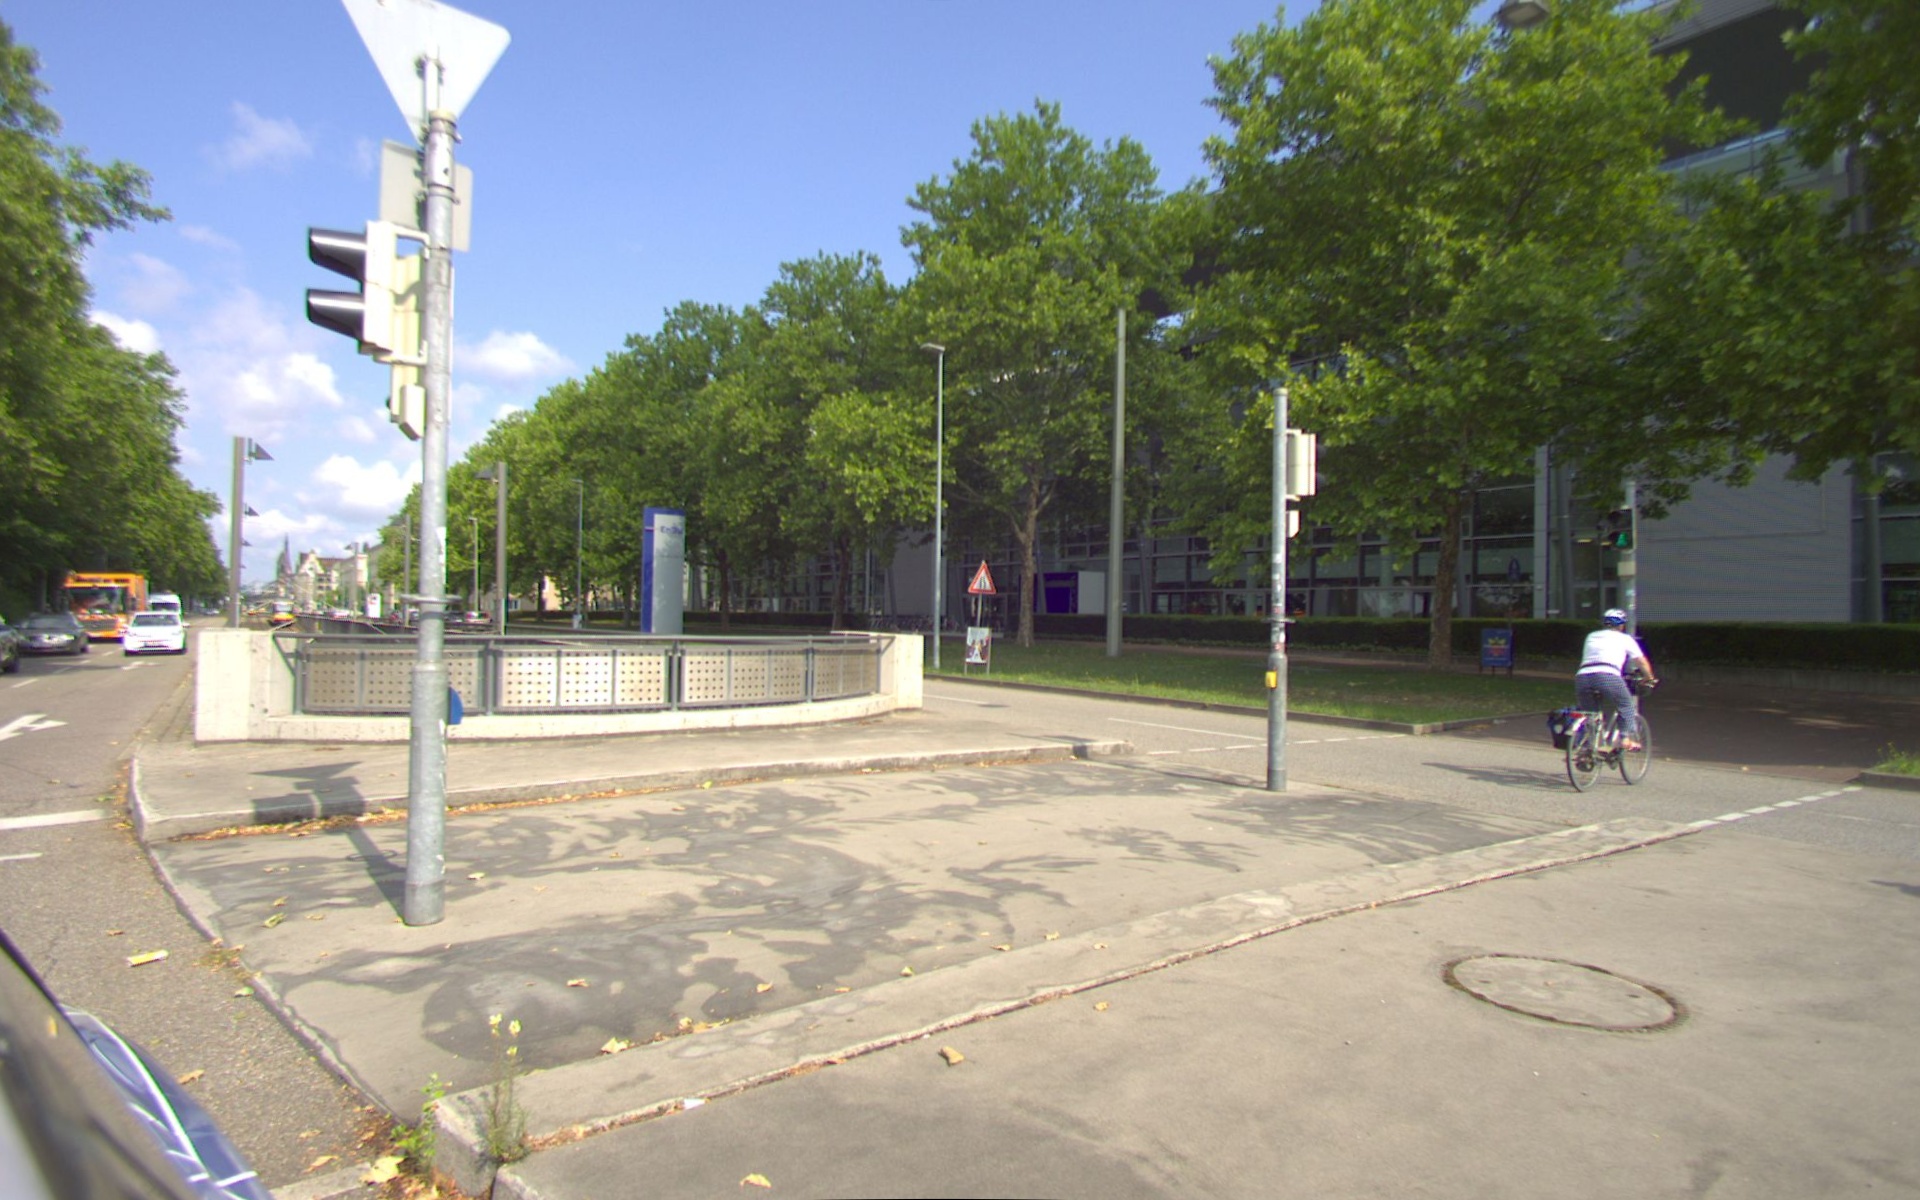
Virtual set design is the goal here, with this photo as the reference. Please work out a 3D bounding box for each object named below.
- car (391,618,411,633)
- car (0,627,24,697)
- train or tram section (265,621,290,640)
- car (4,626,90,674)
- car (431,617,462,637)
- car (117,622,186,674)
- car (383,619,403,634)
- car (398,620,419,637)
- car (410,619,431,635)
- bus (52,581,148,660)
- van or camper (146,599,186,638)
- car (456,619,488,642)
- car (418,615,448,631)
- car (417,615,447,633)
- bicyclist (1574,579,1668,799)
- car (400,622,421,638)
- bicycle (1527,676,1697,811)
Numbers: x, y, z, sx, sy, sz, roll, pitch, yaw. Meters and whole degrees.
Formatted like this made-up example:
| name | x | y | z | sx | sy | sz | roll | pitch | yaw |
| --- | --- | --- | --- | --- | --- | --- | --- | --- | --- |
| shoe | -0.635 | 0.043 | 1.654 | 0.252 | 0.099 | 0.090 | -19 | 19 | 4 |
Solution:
| name | x | y | z | sx | sy | sz | roll | pitch | yaw |
| --- | --- | --- | --- | --- | --- | --- | --- | --- | --- |
| car | -52.545 | 2.381 | 95.102 | 1.288 | 1.387 | 3.192 | 3 | -2 | -36 |
| car | -23.923 | 1.485 | 24.076 | 1.861 | 1.587 | 4.591 | 0 | 0 | -36 |
| train or tram section | -95.501 | 4.255 | 141.544 | 2.183 | 2.477 | 6.258 | 1 | -1 | -41 |
| car | -31.548 | 1.683 | 35.080 | 1.743 | 1.475 | 4.010 | 0 | -1 | -36 |
| car | -37.974 | 1.975 | 74.819 | 1.557 | 1.445 | 3.164 | 3 | -2 | -36 |
| car | -27.860 | 1.617 | 34.952 | 1.710 | 1.497 | 3.610 | -3 | 2 | -37 |
| car | -55.544 | 2.586 | 99.124 | 1.288 | 1.387 | 3.192 | 3 | -2 | -36 |
| car | -49.714 | 2.559 | 91.208 | 1.288 | 1.387 | 3.192 | 3 | -2 | -36 |
| car | -44.632 | 2.212 | 83.689 | 1.162 | 1.252 | 2.555 | 2 | -2 | -36 |
| bus | -42.512 | 0.951 | 50.284 | 2.701 | 3.492 | 10.420 | 1 | -1 | -35 |
| van or camper | -59.412 | 1.404 | 75.797 | 2.130 | 2.807 | 5.979 | 1 | -1 | -37 |
| car | -33.432 | 2.066 | 69.359 | 1.398 | 1.467 | 3.164 | 3 | -2 | -36 |
| car | -41.835 | 1.806 | 80.313 | 1.586 | 1.215 | 3.135 | 3 | -2 | -36 |
| car | -42.033 | 1.892 | 80.587 | 1.554 | 1.387 | 3.905 | 3 | -2 | -35 |
| bicyclist | 6.418 | 0.841 | 9.825 | 0.720 | 2.029 | 0.604 | 4 | -3 | -42 |
| car | -47.675 | 2.593 | 87.793 | 1.149 | 1.387 | 2.752 | 3 | -2 | -36 |
| bicycle | 6.398 | 1.327 | 9.884 | 2.148 | 1.094 | 0.887 | 3 | -2 | -43 |
